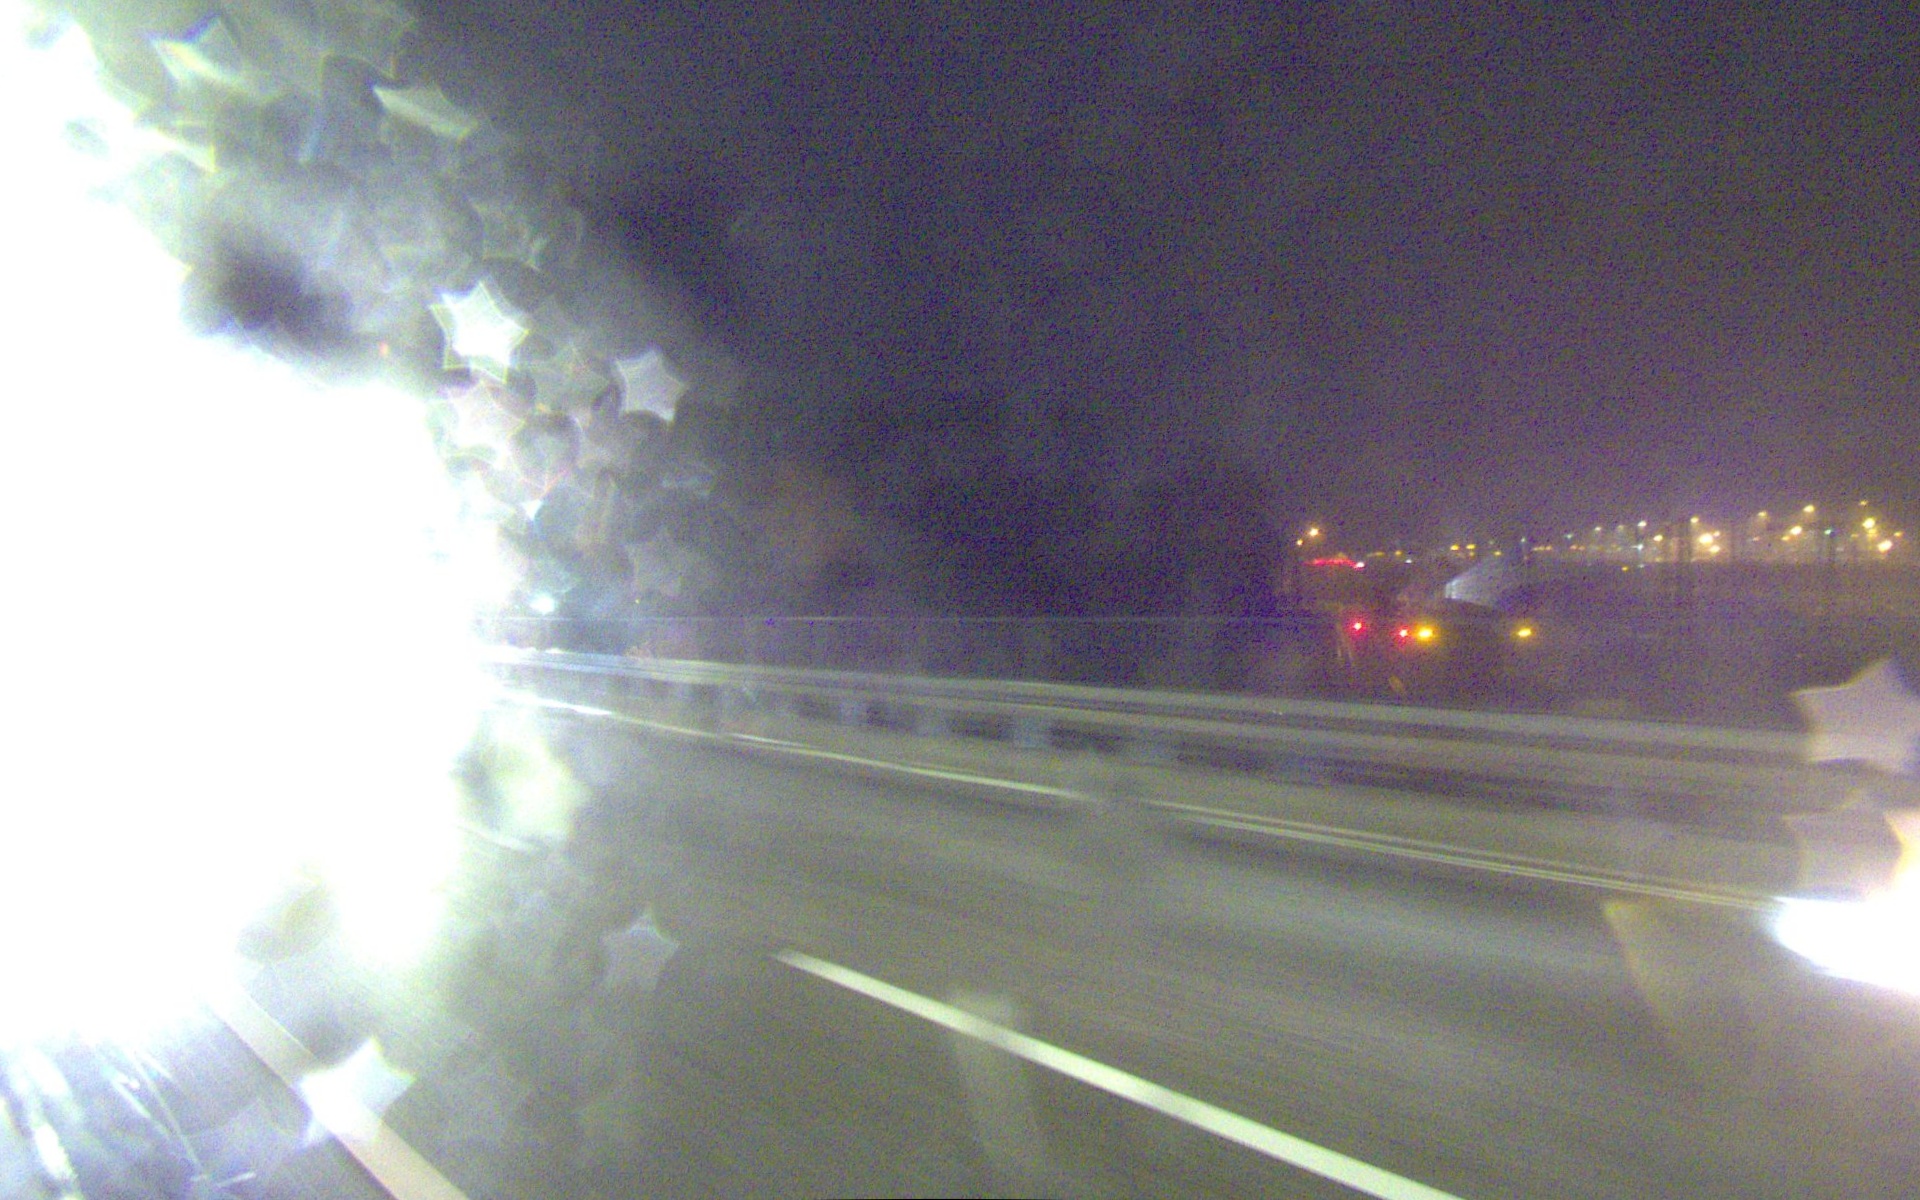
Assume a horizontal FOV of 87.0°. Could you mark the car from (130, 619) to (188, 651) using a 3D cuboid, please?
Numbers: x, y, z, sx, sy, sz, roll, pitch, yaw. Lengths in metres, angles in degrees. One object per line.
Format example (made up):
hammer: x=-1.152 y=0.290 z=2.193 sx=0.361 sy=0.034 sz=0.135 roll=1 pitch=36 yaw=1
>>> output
car: x=-53.356 y=2.276 z=67.498 sx=1.838 sy=2.029 sz=4.013 roll=-1 pitch=-1 yaw=-20

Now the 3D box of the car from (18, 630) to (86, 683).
car: x=-32.662 y=2.007 z=36.473 sx=1.285 sy=1.539 sz=3.054 roll=-9 pitch=6 yaw=-35

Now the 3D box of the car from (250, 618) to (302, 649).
car: x=-41.138 y=1.984 z=60.961 sx=1.971 sy=1.687 sz=4.632 roll=-1 pitch=0 yaw=-26

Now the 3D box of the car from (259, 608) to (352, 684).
car: x=-15.087 y=1.028 z=23.285 sx=1.452 sy=1.597 sz=3.196 roll=0 pitch=-2 yaw=-39

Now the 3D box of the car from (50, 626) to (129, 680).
car: x=-42.389 y=2.539 z=49.378 sx=1.967 sy=2.027 sz=4.013 roll=-7 pitch=6 yaw=-29

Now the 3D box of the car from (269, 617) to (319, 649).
car: x=-31.979 y=1.570 z=48.690 sx=1.742 sy=1.438 sz=4.232 roll=1 pitch=-1 yaw=-30

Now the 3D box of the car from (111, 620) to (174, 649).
car: x=-59.780 y=2.490 z=74.111 sx=1.840 sy=2.029 sz=4.008 roll=-2 pitch=-1 yaw=-9

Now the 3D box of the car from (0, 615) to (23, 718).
car: x=-20.989 y=1.345 z=20.979 sx=1.968 sy=2.029 sz=4.007 roll=2 pitch=-2 yaw=-39

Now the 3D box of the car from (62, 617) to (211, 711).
car: x=-14.619 y=1.043 z=17.924 sx=1.872 sy=1.450 sz=4.068 roll=0 pitch=-1 yaw=-41
